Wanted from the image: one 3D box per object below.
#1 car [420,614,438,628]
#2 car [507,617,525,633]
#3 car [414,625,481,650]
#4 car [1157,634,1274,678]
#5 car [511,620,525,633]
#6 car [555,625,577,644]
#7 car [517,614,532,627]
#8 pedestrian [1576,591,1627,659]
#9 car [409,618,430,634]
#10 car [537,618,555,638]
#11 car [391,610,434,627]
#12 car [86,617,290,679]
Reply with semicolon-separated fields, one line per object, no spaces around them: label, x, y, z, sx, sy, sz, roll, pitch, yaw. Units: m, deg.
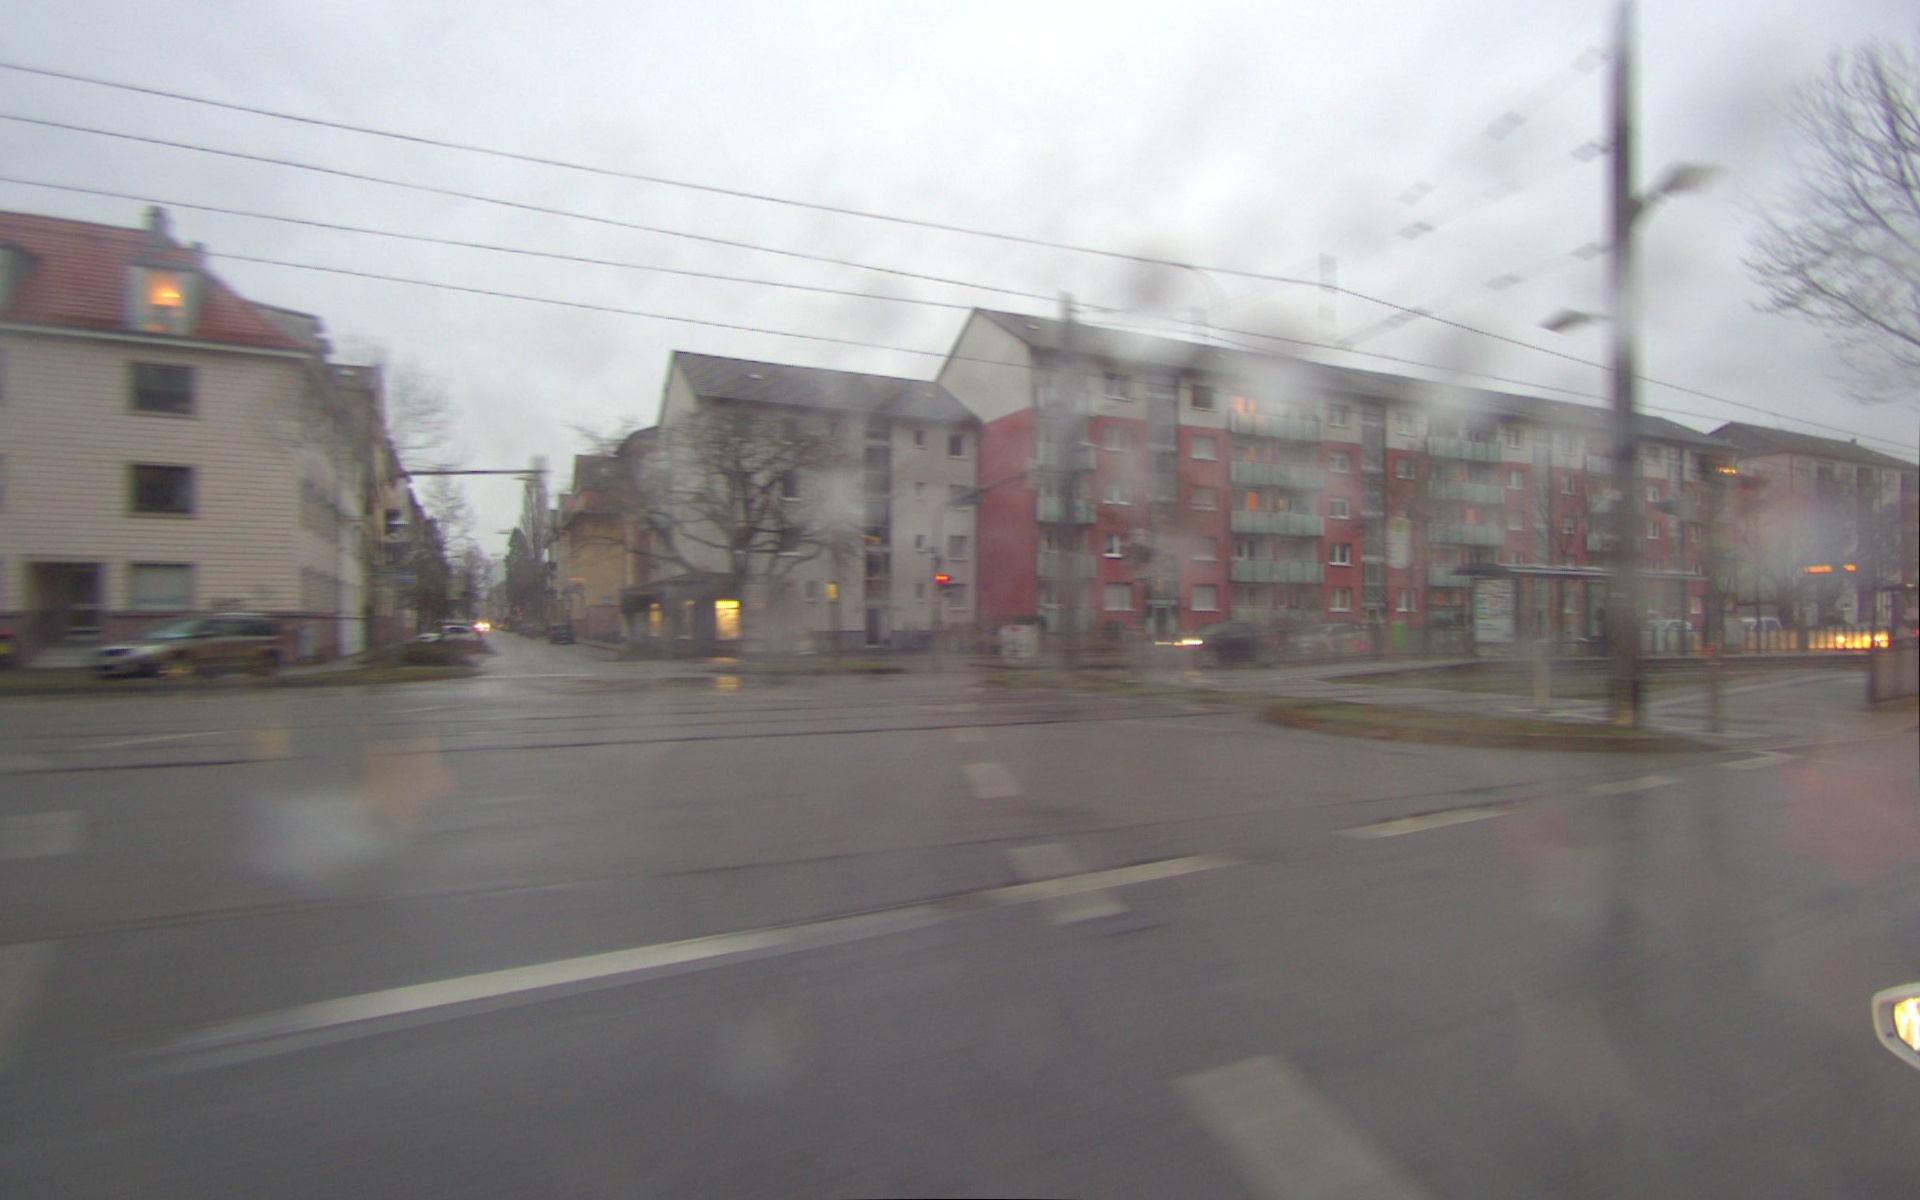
car;-75.811;3.014;143.323;1.973;1.806;3.976;2;0;-24
car;-55.252;3.140;125.109;1.973;1.806;3.976;2;0;-24
car;-32.857;2.377;64.461;1.532;1.456;3.538;2;0;34
car;8.826;1.905;34.633;3.950;1.386;1.509;2;0;-28
car;-70.791;4.227;160.721;1.973;1.806;3.976;2;0;-24
car;-31.295;2.731;79.682;1.540;1.304;3.251;2;0;-23
car;-64.710;2.990;149.092;1.973;1.806;3.976;2;0;-24
pedestrian;19.958;0.766;31.268;1.118;2.040;0.962;2;0;21
car;-67.046;3.216;124.716;1.973;1.806;3.976;2;0;-24
car;-42.280;2.850;102.551;1.540;1.860;3.483;2;0;-23
car;-50.216;1.686;92.144;3.377;1.456;1.417;2;0;-32
car;-18.045;1.072;23.735;1.415;1.272;4.002;2;0;6
